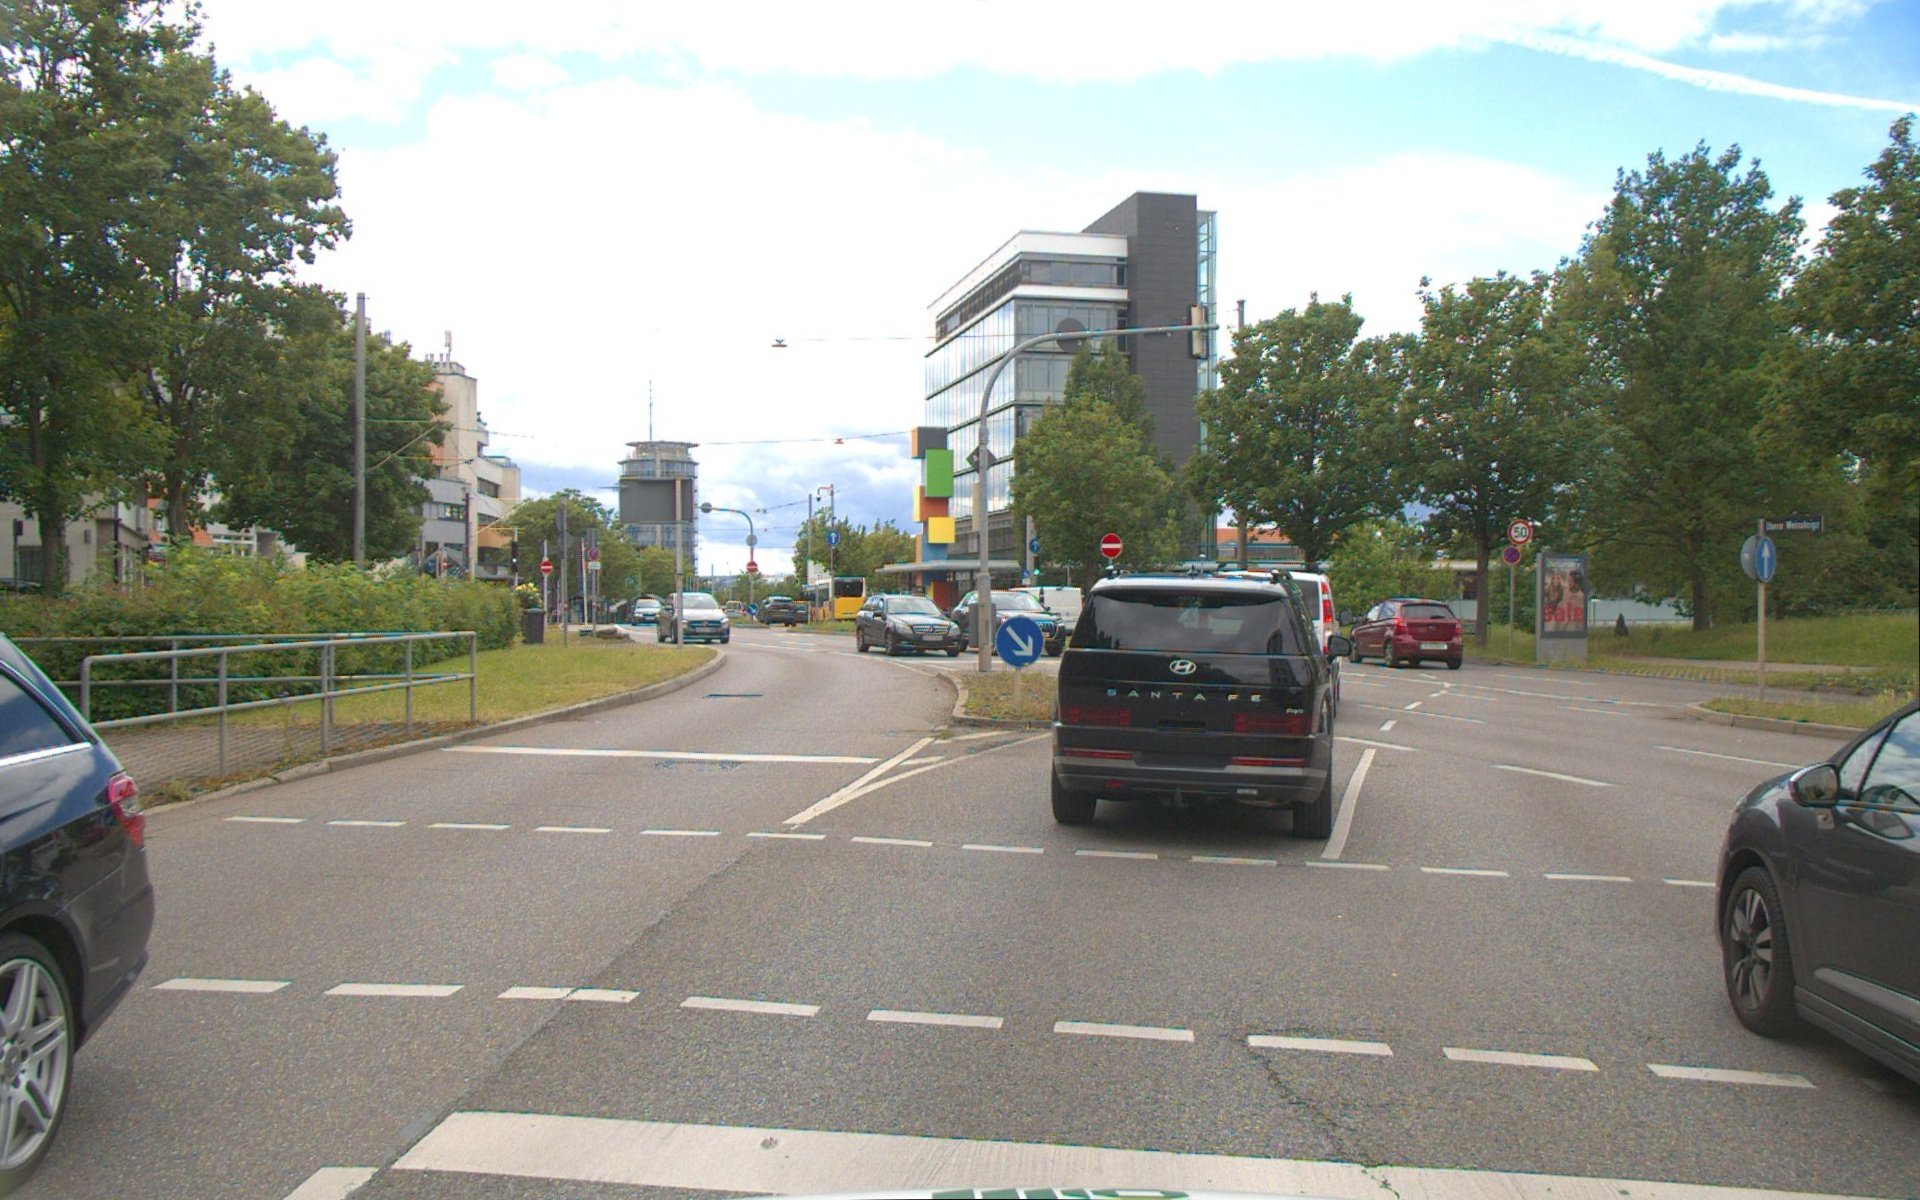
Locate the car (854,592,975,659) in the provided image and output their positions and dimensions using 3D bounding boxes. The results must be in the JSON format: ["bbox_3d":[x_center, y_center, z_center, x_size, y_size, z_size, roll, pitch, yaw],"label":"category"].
[{"bbox_3d":[-1.170,0.583,40.274,1.756,1.450,4.373,1,1,-18],"label":"car"}]

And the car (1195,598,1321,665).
[{"bbox_3d":[6.922,0.696,38.852,1.836,1.443,4.438,1,0,-5],"label":"car"}]

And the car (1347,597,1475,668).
[{"bbox_3d":[10.239,0.710,37.785,1.710,1.507,3.716,1,0,-3],"label":"car"}]

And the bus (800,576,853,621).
[{"bbox_3d":[-10.083,-0.036,123.840,2.899,3.166,9.949,-1,0,-11],"label":"bus"}]

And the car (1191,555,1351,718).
[{"bbox_3d":[4.457,0.457,23.170,1.862,2.003,4.639,1,0,14],"label":"car"}]

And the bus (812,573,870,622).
[{"bbox_3d":[-8.324,-0.125,114.517,2.913,3.171,9.219,-1,0,-11],"label":"bus"}]

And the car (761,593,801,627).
[{"bbox_3d":[-10.492,0.584,96.689,1.869,1.891,4.695,1,0,-12],"label":"car"}]

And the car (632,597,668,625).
[{"bbox_3d":[-17.377,0.622,92.487,1.767,1.480,4.596,0,0,-13],"label":"car"}]

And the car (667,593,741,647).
[{"bbox_3d":[-8.164,0.601,52.453,1.754,1.564,4.377,1,1,-16],"label":"car"}]

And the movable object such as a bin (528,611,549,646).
[{"bbox_3d":[-12.471,0.844,48.878,0.555,1.030,0.834,0,0,-18],"label":"movable object such as a bin"}]

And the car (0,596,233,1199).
[{"bbox_3d":[-3.123,0.744,2.782,1.808,1.462,4.704,-1,0,-2],"label":"car"}]

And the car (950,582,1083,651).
[{"bbox_3d":[1.359,0.391,42.023,1.861,1.592,4.370,1,1,-20],"label":"car"}]

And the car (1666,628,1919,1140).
[{"bbox_3d":[3.719,0.886,5.033,1.665,1.486,4.064,1,0,5],"label":"car"}]

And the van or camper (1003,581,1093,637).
[{"bbox_3d":[3.239,0.301,61.699,1.962,1.951,4.388,1,1,-17],"label":"van or camper"}]

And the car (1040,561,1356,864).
[{"bbox_3d":[1.915,0.671,12.191,1.861,1.762,4.450,1,0,13],"label":"car"}]
